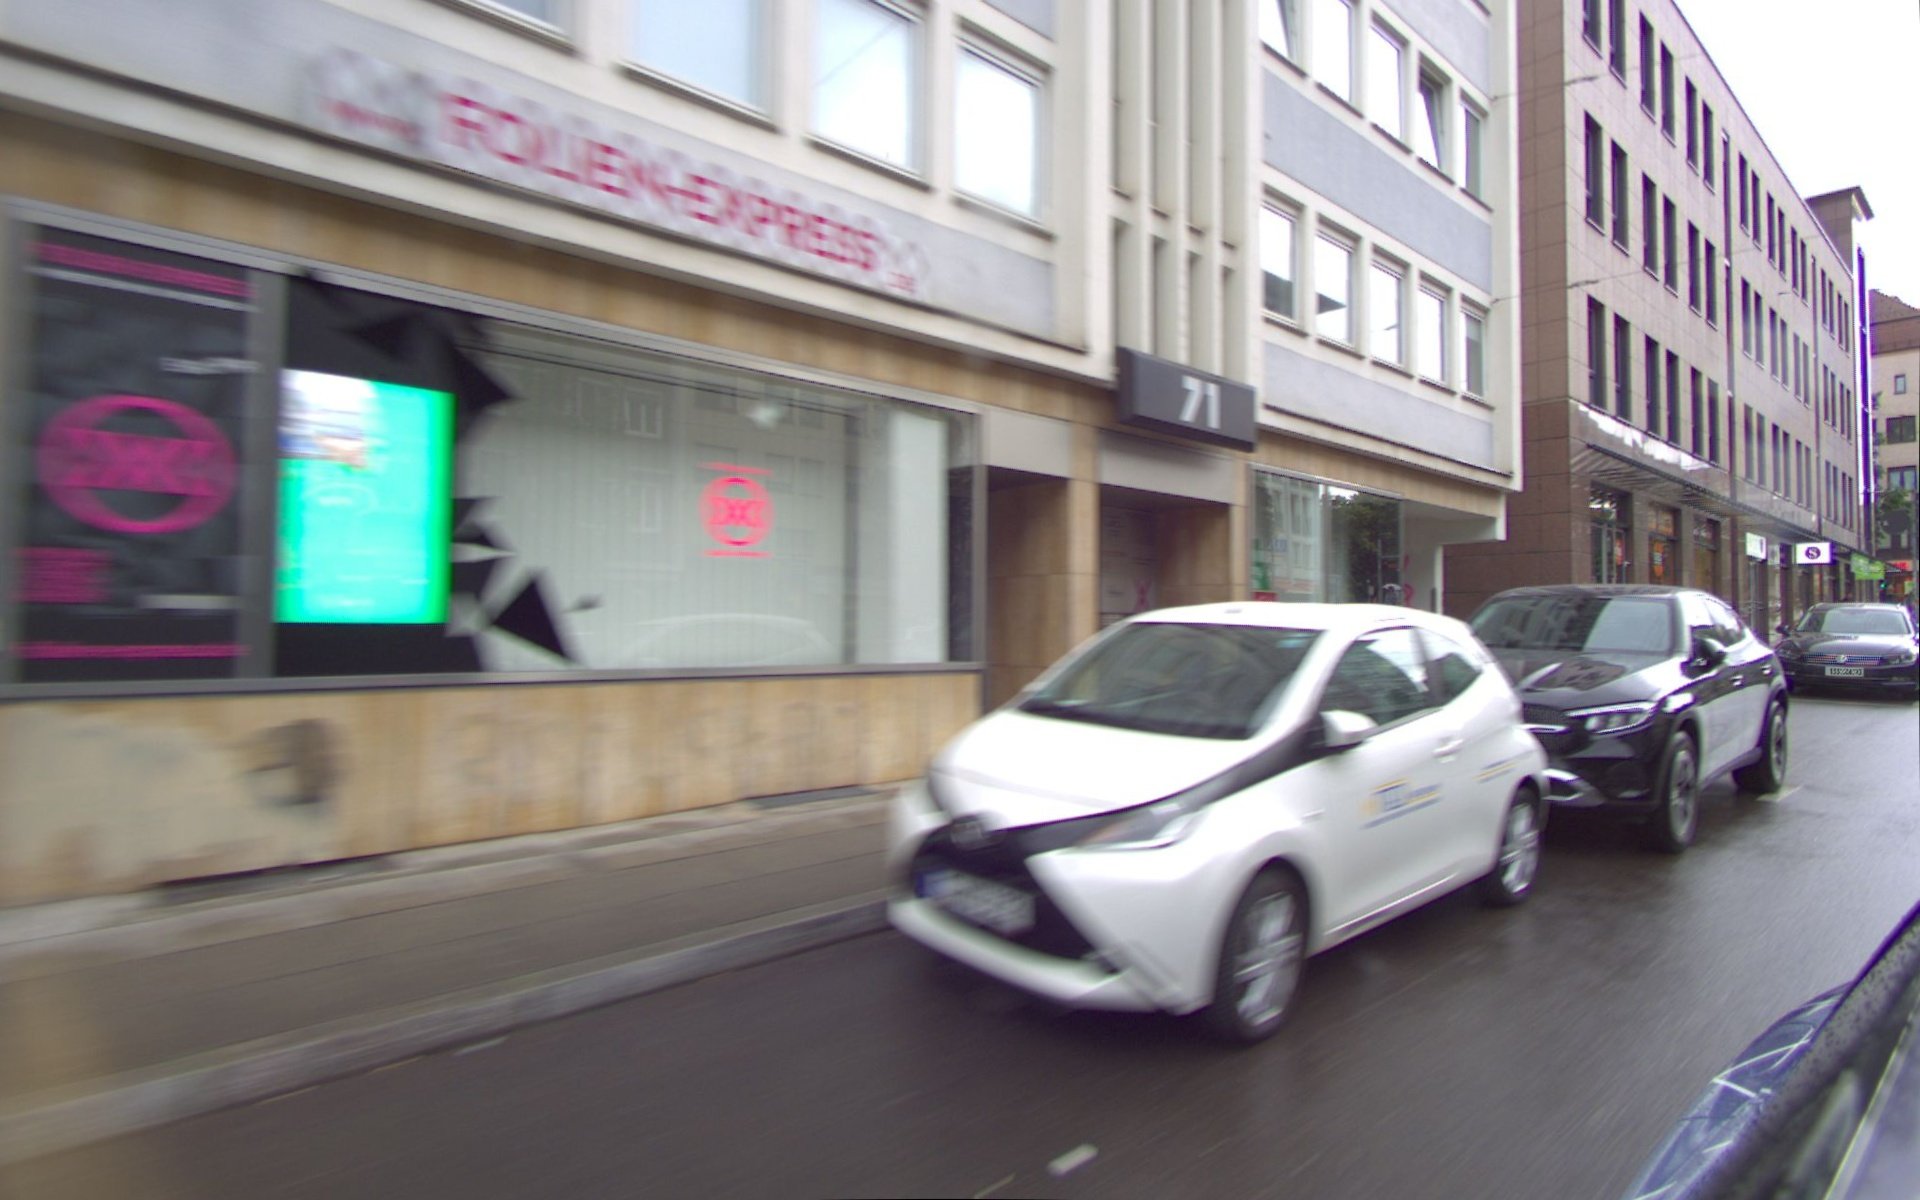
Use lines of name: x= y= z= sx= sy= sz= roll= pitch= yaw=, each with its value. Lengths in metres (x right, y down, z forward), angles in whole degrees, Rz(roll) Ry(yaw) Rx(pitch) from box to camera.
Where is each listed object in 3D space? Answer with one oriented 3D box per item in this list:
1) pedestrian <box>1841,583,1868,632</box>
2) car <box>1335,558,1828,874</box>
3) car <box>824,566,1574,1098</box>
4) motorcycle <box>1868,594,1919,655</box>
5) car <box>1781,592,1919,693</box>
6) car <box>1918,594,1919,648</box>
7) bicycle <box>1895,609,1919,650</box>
pedestrian: x=31.269 y=0.248 z=35.373 sx=0.615 sy=1.680 sz=0.602 roll=-1 pitch=0 yaw=-41
car: x=4.954 y=0.589 z=7.669 sx=5.080 sy=1.652 sz=1.810 roll=-1 pitch=0 yaw=-42
car: x=1.284 y=0.639 z=4.590 sx=3.503 sy=1.495 sz=1.560 roll=0 pitch=0 yaw=-41
motorcycle: x=23.041 y=0.570 z=24.005 sx=0.782 sy=1.425 sz=2.095 roll=-1 pitch=0 yaw=-23
car: x=15.342 y=0.618 z=17.058 sx=4.533 sy=1.487 sz=1.775 roll=-1 pitch=0 yaw=-44
car: x=28.673 y=0.576 z=28.836 sx=3.801 sy=1.480 sz=1.701 roll=-1 pitch=2 yaw=-42
bicycle: x=25.159 y=0.757 z=25.895 sx=0.454 sy=1.043 sz=1.789 roll=-1 pitch=0 yaw=-41
